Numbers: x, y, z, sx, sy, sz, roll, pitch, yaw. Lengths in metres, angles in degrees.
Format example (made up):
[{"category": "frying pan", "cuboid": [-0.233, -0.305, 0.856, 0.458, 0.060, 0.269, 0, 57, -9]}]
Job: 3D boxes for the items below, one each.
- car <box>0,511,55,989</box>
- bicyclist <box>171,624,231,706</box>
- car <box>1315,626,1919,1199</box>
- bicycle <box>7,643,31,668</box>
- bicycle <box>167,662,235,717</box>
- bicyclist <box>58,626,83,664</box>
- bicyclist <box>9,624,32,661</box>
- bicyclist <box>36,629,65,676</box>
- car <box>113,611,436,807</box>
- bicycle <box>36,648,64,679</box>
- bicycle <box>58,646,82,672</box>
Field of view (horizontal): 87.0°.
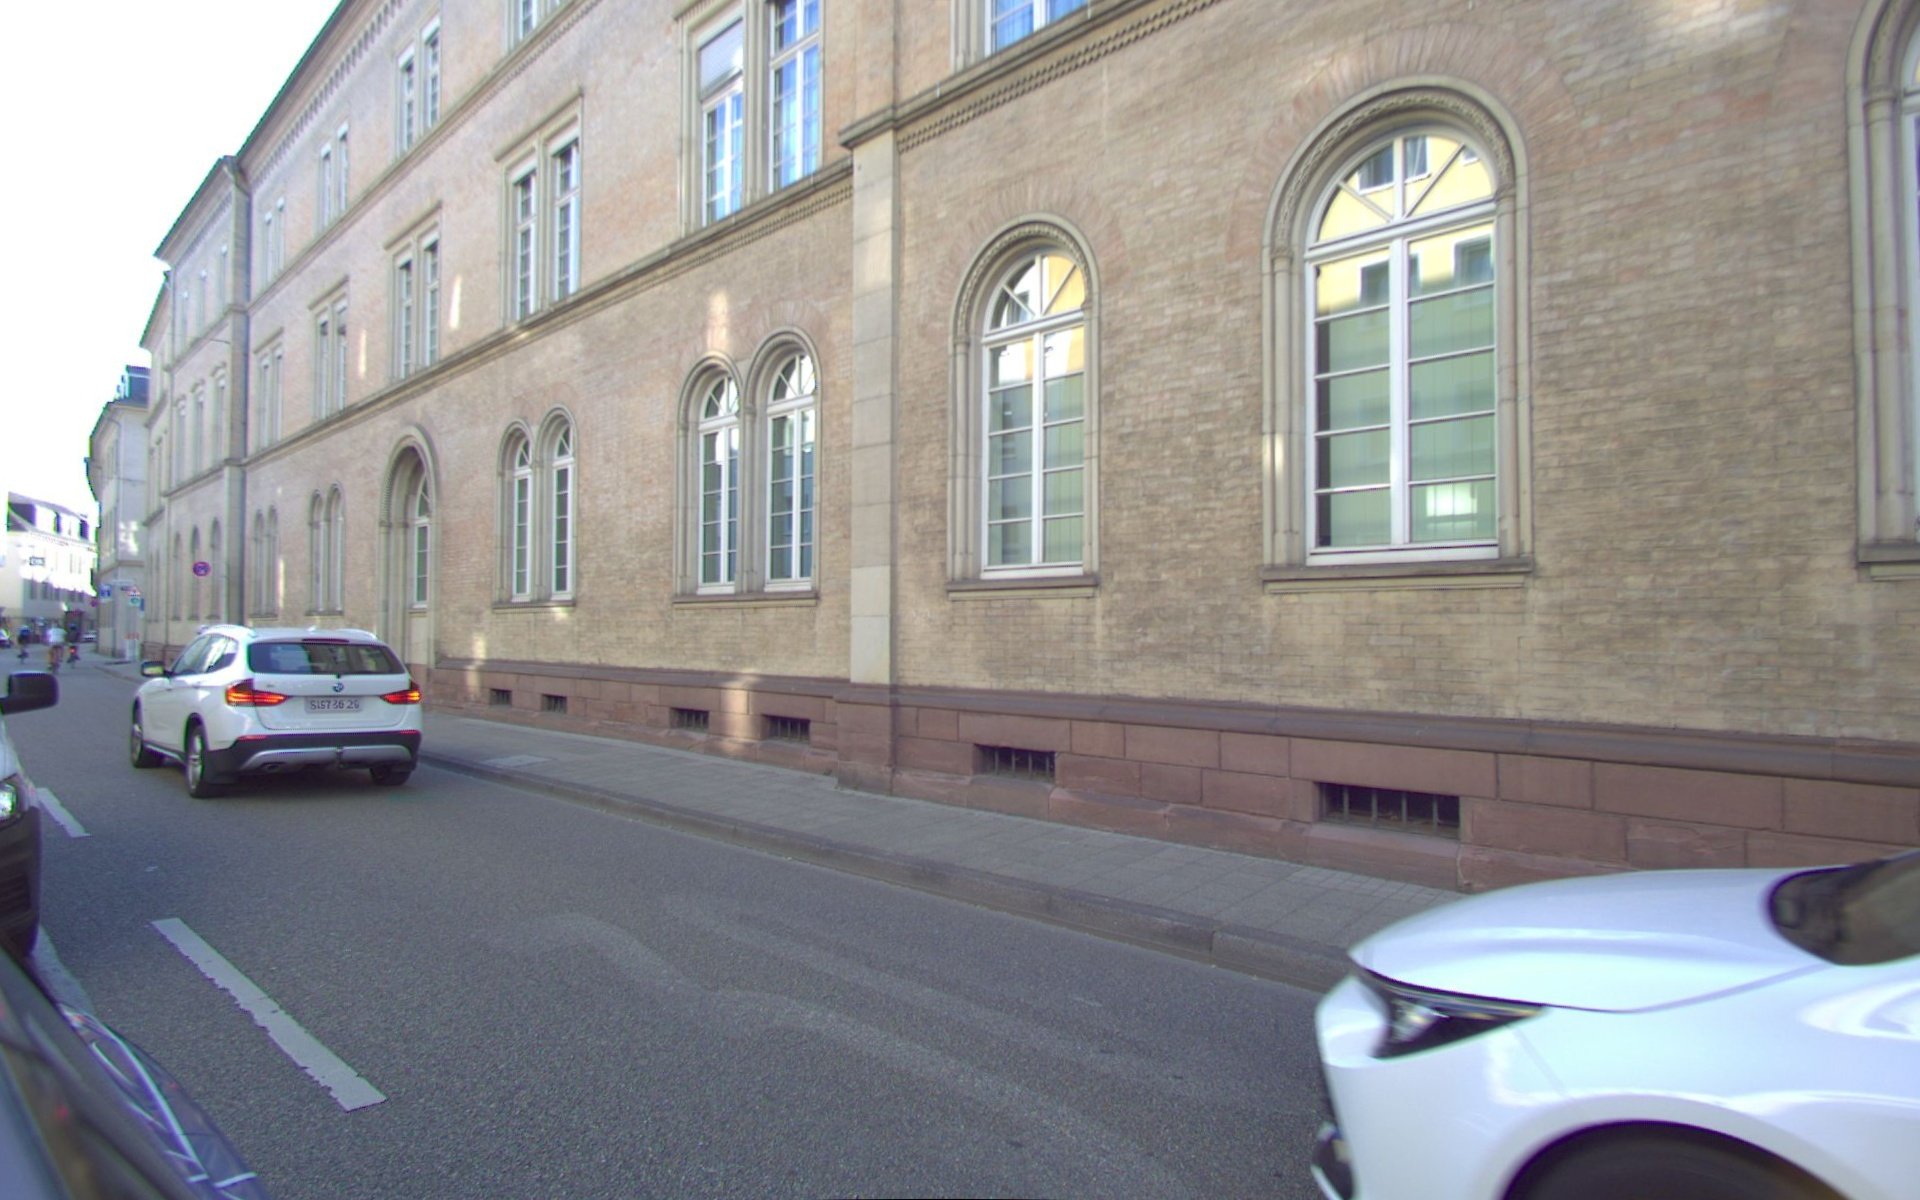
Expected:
[{"category": "car", "cuboid": [-6.217, 0.623, 5.111, 5.338, 1.850, 1.795, -2, -3, 41]}, {"category": "bicyclist", "cuboid": [-14.174, 1.213, 18.890, 0.871, 1.487, 0.678, -2, -5, 43]}, {"category": "car", "cuboid": [3.059, 0.814, 1.333, 4.544, 1.487, 1.866, -1, -4, 42]}, {"category": "bicycle", "cuboid": [-39.779, 2.348, 42.792, 0.538, 1.014, 1.760, 4, -5, -39]}, {"category": "bicycle", "cuboid": [-14.183, 1.652, 18.888, 1.766, 0.931, 0.678, -2, -5, 43]}, {"category": "bicyclist", "cuboid": [-35.989, 1.815, 40.945, 0.642, 1.520, 1.112, 5, -5, -43]}, {"category": "bicyclist", "cuboid": [-39.866, 1.793, 42.942, 0.538, 1.545, 0.871, 4, -5, -39]}, {"category": "bicyclist", "cuboid": [-31.769, 1.833, 35.340, 0.642, 1.579, 0.962, 5, -5, -42]}, {"category": "car", "cuboid": [-7.093, 0.982, 10.300, 4.273, 1.595, 1.667, -2, -5, 42]}, {"category": "bicycle", "cuboid": [-31.776, 2.213, 35.329, 0.642, 1.014, 1.808, 5, -5, -42]}, {"category": "bicycle", "cuboid": [-36.012, 2.394, 40.924, 0.642, 1.014, 1.877, 5, -5, -42]}]
